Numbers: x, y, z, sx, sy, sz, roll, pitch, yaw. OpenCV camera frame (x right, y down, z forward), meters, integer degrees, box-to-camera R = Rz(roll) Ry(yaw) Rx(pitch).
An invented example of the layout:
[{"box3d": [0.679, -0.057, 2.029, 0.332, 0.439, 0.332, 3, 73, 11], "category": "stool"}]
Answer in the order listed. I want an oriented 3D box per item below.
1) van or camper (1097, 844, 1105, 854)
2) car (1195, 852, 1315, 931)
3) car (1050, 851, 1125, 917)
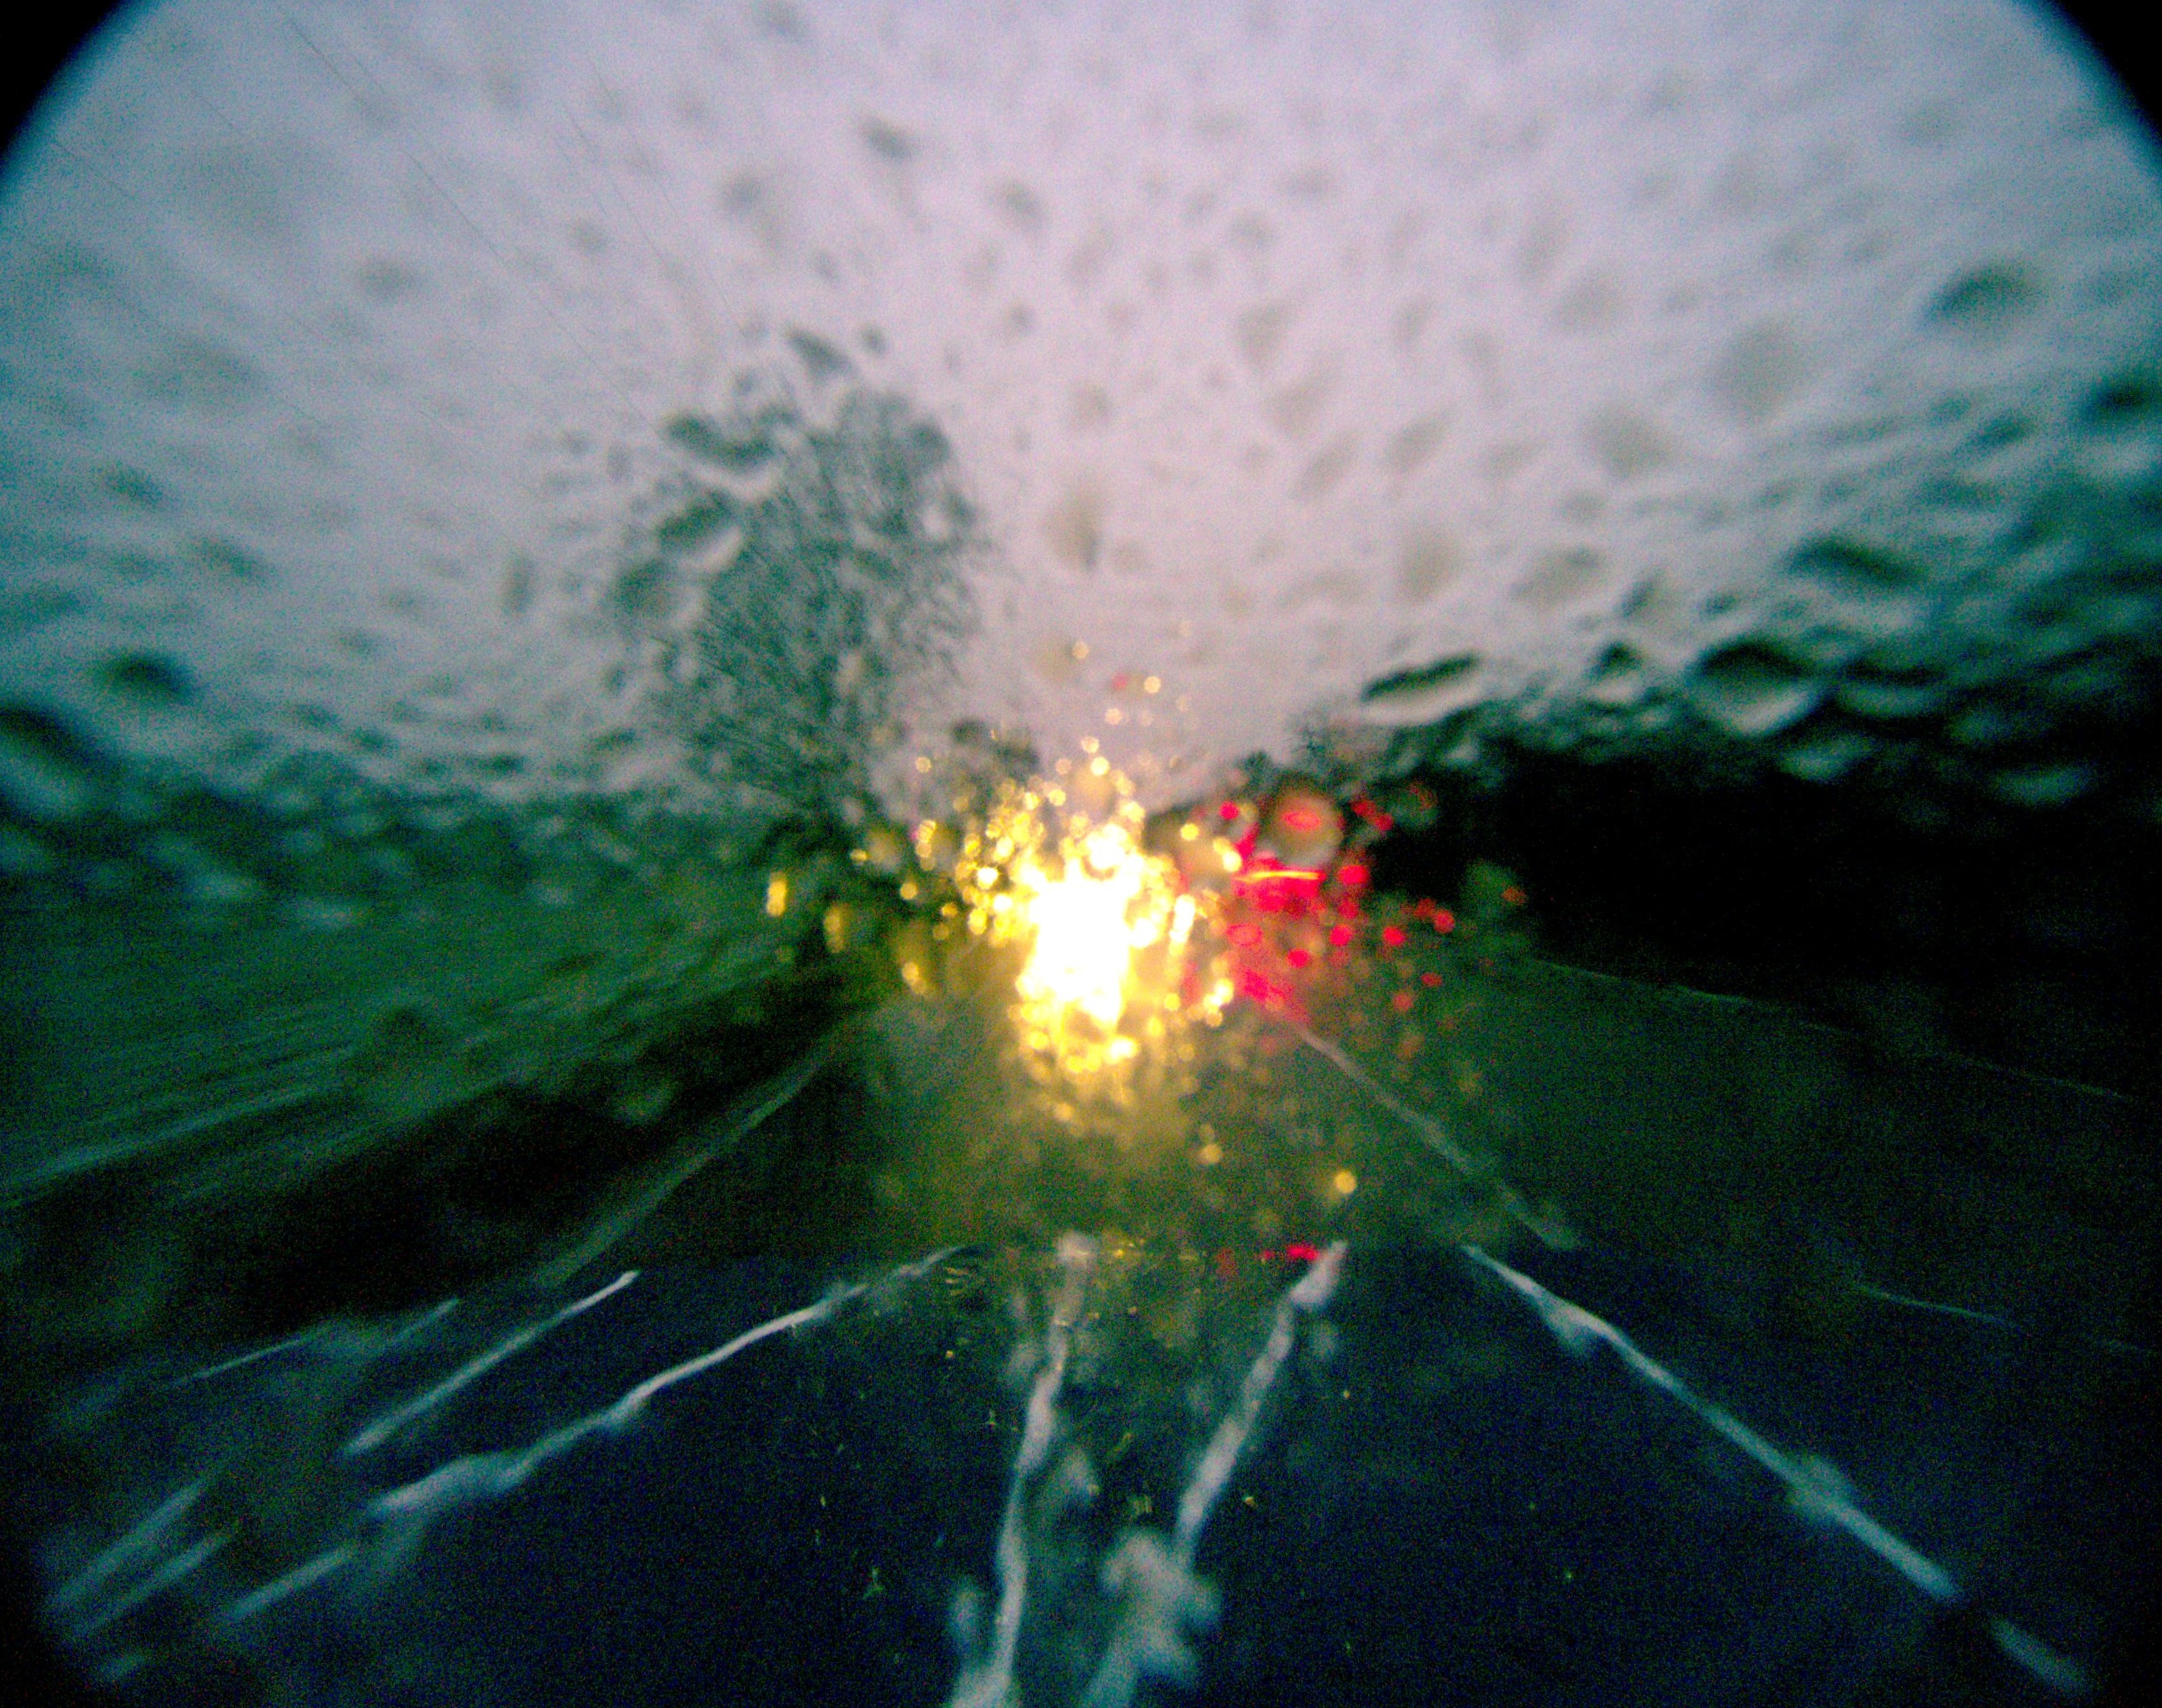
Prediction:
[{"box3d": [5.504, -1.310, 205.997, 2.026, 2.760, 6.743, -2, 1, 1], "category": "van or camper"}, {"box3d": [3.827, 0.751, 17.479, 1.812, 1.527, 4.407, -1, 0, 1], "category": "car"}, {"box3d": [0.259, 0.802, 22.337, 1.910, 1.653, 4.000, -3, 0, 2], "category": "car"}]
